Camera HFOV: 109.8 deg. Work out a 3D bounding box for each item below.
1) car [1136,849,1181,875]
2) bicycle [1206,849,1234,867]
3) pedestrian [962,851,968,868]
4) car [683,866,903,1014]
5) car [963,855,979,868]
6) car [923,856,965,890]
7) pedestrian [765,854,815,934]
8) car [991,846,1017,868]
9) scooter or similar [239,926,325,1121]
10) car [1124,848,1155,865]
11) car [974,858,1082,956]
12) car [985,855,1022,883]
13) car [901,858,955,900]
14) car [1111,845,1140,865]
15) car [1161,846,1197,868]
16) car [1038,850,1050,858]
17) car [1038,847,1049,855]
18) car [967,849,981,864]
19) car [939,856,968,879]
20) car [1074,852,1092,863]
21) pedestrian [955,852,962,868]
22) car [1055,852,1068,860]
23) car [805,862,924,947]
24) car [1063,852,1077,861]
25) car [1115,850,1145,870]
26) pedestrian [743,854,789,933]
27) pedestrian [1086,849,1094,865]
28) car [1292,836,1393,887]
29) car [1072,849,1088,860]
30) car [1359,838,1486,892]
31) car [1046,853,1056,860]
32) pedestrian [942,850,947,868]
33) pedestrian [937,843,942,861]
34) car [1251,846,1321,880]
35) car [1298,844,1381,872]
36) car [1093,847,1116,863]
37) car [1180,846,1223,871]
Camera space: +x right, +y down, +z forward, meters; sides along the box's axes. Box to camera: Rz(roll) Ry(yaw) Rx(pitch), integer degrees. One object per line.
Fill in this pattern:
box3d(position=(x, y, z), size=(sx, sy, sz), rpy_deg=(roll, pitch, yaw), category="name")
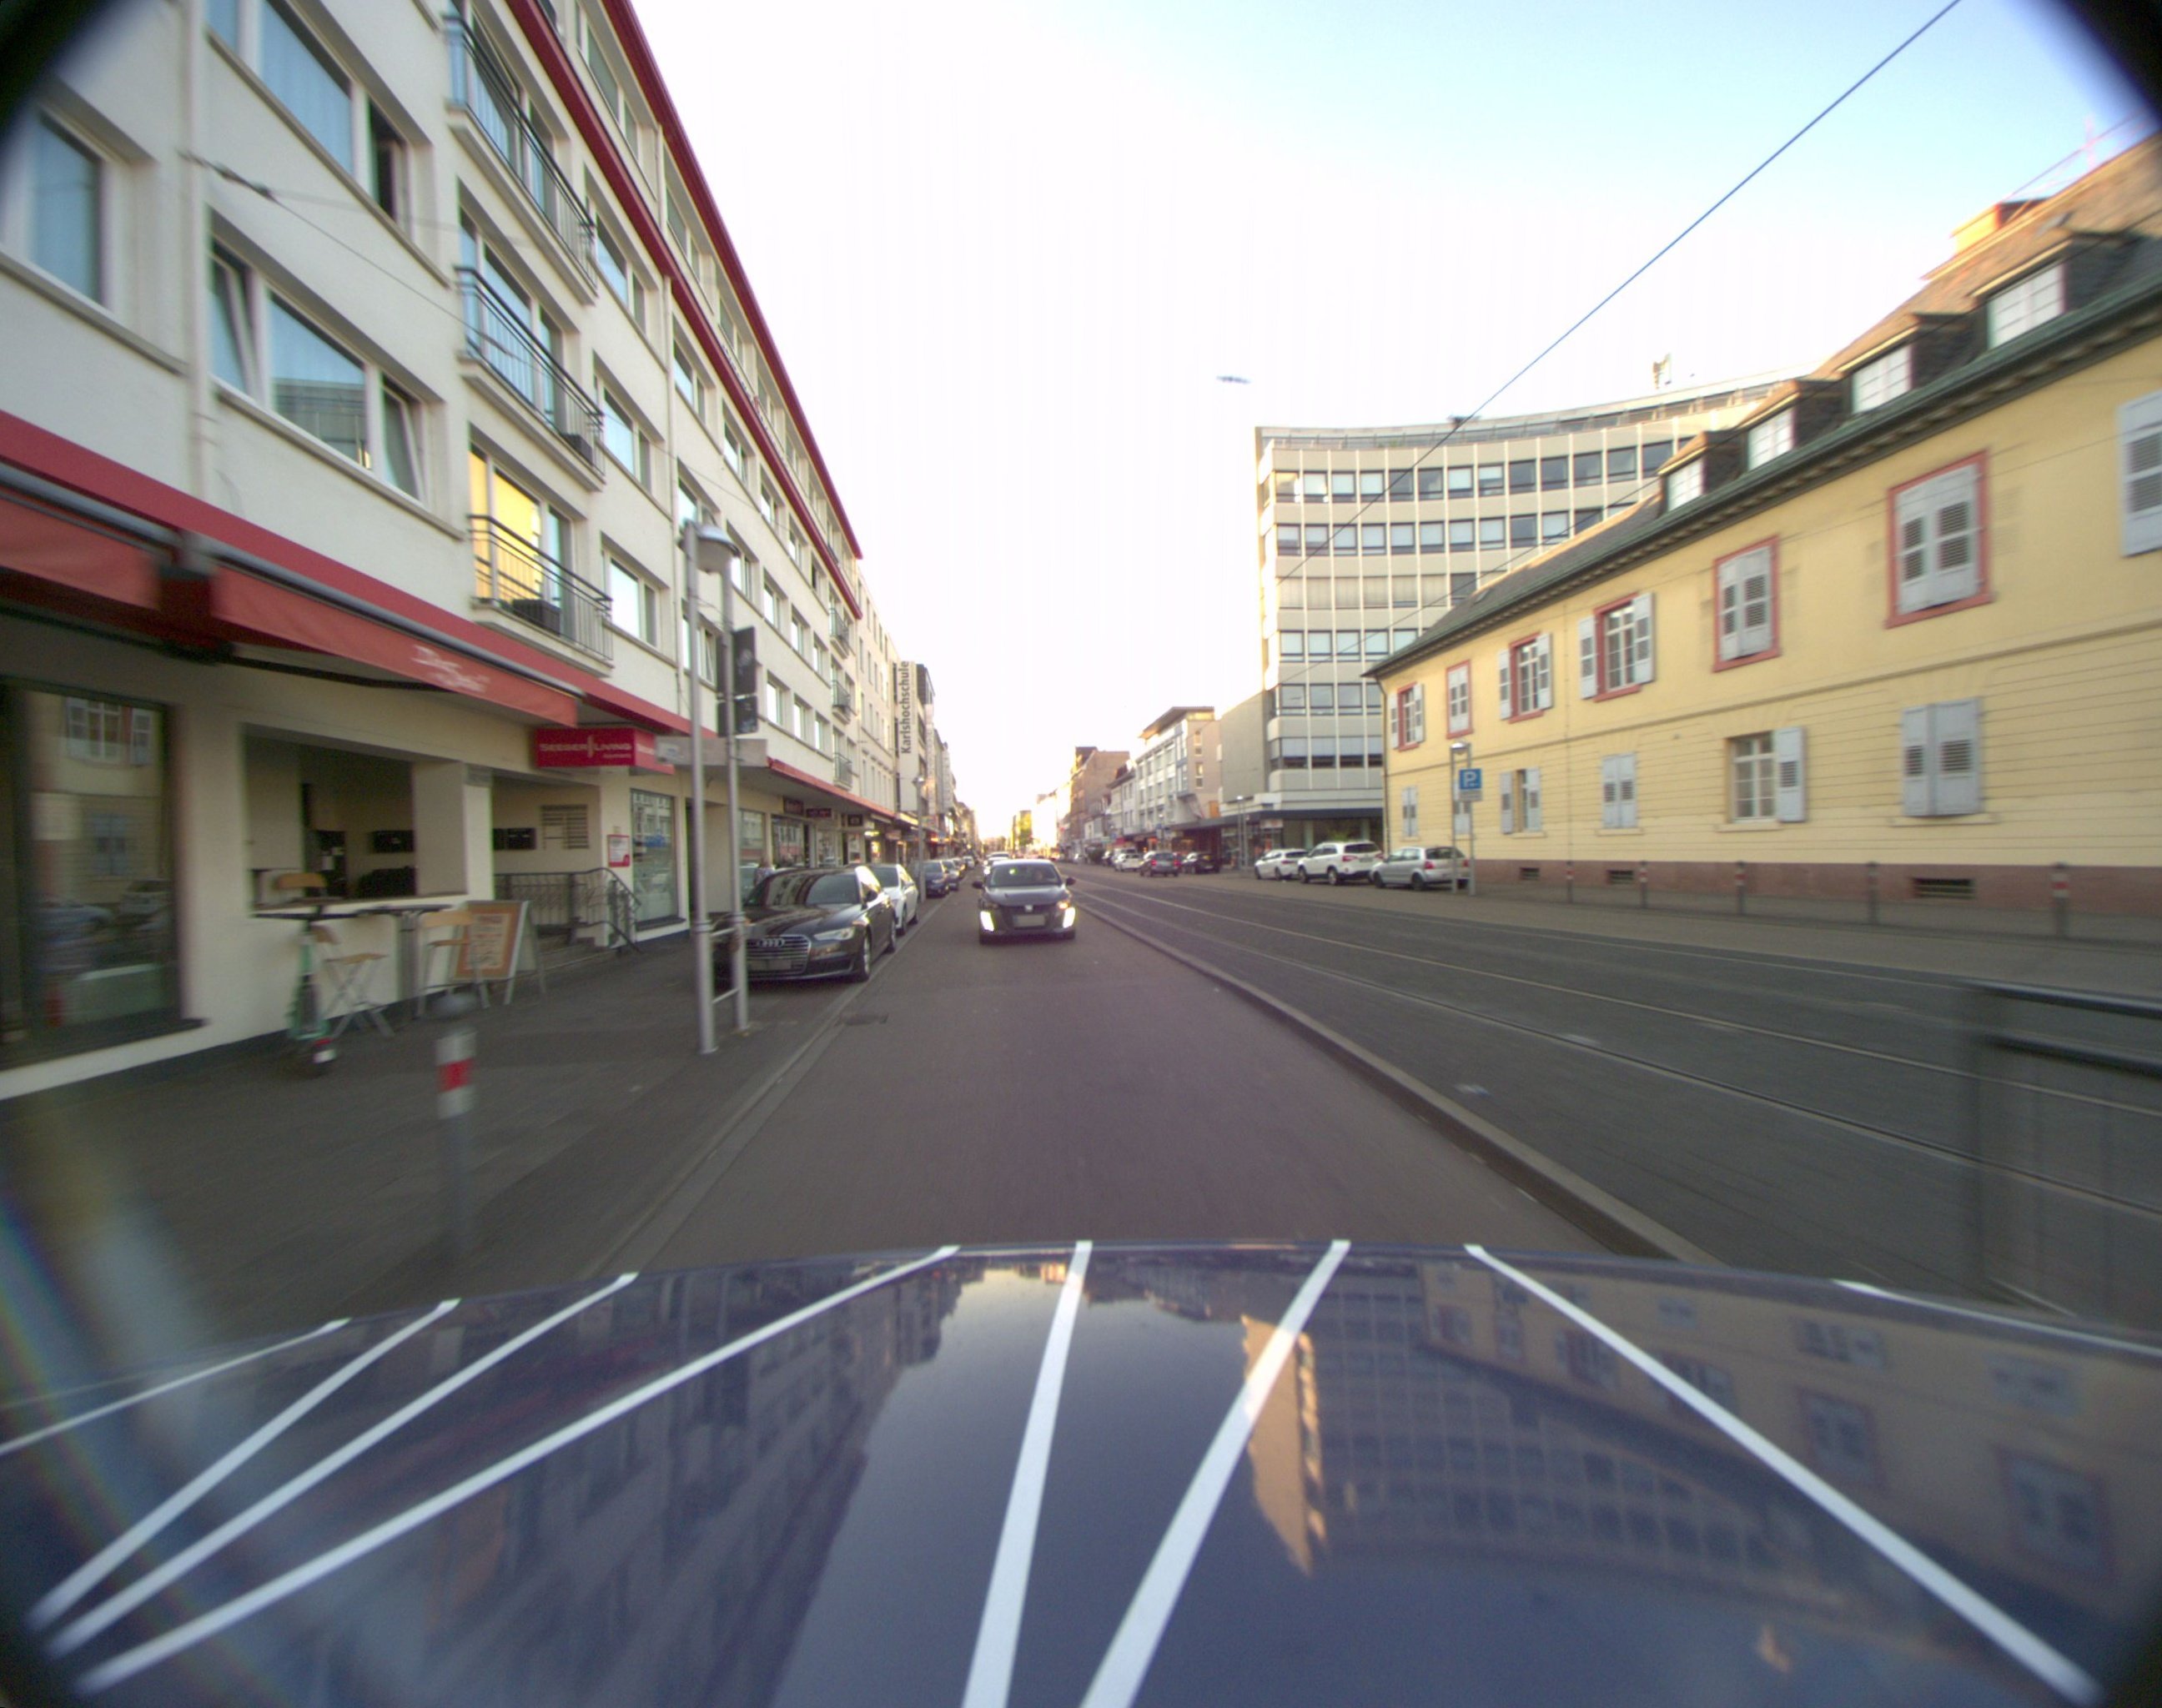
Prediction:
box3d(position=(4.731, 0.463, 47.019), size=(1.741, 1.503, 4.031), rpy_deg=(-2, 0, -9), category="car")
box3d(position=(10.946, 0.308, 59.813), size=(1.974, 1.417, 0.833), rpy_deg=(-1, 1, -8), category="bicycle")
box3d(position=(-12.393, 0.597, 81.104), size=(0.606, 1.717, 0.646), rpy_deg=(-1, 1, -7), category="pedestrian")
box3d(position=(-3.660, 0.966, 10.590), size=(1.740, 1.503, 4.682), rpy_deg=(0, 0, -6), category="car")
box3d(position=(-13.235, 0.846, 91.478), size=(1.683, 1.534, 3.883), rpy_deg=(0, 0, -6), category="car")
box3d(position=(-6.545, 0.864, 36.716), size=(1.795, 1.503, 4.708), rpy_deg=(0, 0, -8), category="car")
box3d(position=(-6.353, 0.855, 16.640), size=(0.829, 1.708, 0.842), rpy_deg=(0, 1, -6), category="pedestrian")
box3d(position=(-6.649, 0.233, 65.240), size=(2.000, 1.805, 3.997), rpy_deg=(-2, 0, -8), category="car")
box3d(position=(-5.837, 1.174, 5.583), size=(0.357, 1.195, 1.245), rpy_deg=(-3, 1, -45), category="scooter or similar")
box3d(position=(5.459, 0.259, 71.734), size=(1.999, 1.457, 4.555), rpy_deg=(-3, 0, -8), category="car")
box3d(position=(-1.162, 0.877, 14.744), size=(1.733, 1.513, 4.330), rpy_deg=(-3, 0, -8), category="car")
box3d(position=(-4.450, 0.796, 43.269), size=(2.000, 1.450, 3.997), rpy_deg=(-2, 0, -7), category="car")
box3d(position=(-6.043, 0.947, 30.443), size=(1.740, 1.503, 4.300), rpy_deg=(0, 0, -6), category="car")
box3d(position=(4.607, 0.095, 79.116), size=(1.961, 1.965, 5.159), rpy_deg=(-1, 0, -8), category="car")
box3d(position=(7.117, 0.207, 55.522), size=(1.691, 1.503, 4.212), rpy_deg=(0, 0, -6), category="car")
box3d(position=(-7.447, -0.048, 151.864), size=(2.000, 1.543, 3.997), rpy_deg=(-2, 0, -7), category="car")
box3d(position=(-7.924, -0.653, 159.144), size=(2.000, 1.543, 3.997), rpy_deg=(-2, 0, -7), category="car")
box3d(position=(-16.821, 0.365, 119.082), size=(2.047, 2.371, 5.580), rpy_deg=(-1, 0, -8), category="car")
box3d(position=(-8.650, 0.889, 51.728), size=(1.726, 1.503, 4.164), rpy_deg=(0, 0, -6), category="car")
box3d(position=(0.285, 0.443, 113.586), size=(1.999, 1.535, 4.875), rpy_deg=(-2, 0, -6), category="car")
box3d(position=(-13.050, 0.621, 81.035), size=(0.610, 1.743, 0.604), rpy_deg=(-1, 1, -7), category="pedestrian")
box3d(position=(-3.771, 0.381, 145.757), size=(2.000, 1.543, 4.203), rpy_deg=(-2, 0, -7), category="car")
box3d(position=(-4.436, 0.954, 16.158), size=(1.791, 1.503, 4.049), rpy_deg=(0, 0, -6), category="car")
box3d(position=(-1.962, 0.432, 134.110), size=(2.000, 1.543, 3.997), rpy_deg=(-2, 0, -7), category="car")
box3d(position=(3.846, 0.472, 60.132), size=(1.811, 1.503, 4.032), rpy_deg=(0, 0, -5), category="car")
box3d(position=(-7.074, 0.861, 17.083), size=(0.731, 1.731, 0.862), rpy_deg=(0, 1, -6), category="pedestrian")
box3d(position=(1.218, 0.403, 102.055), size=(0.823, 2.002, 0.712), rpy_deg=(-1, 1, 9), category="pedestrian")
box3d(position=(10.327, 0.278, 30.385), size=(1.818, 1.775, 4.493), rpy_deg=(-3, 1, -10), category="car")
box3d(position=(-0.194, 0.087, 119.219), size=(1.915, 1.535, 4.549), rpy_deg=(-2, 0, -7), category="car")
box3d(position=(11.256, 0.327, 25.373), size=(1.818, 1.608, 4.211), rpy_deg=(-2, 0, -9), category="car")
box3d(position=(-6.575, 0.491, 166.323), size=(2.000, 1.543, 3.997), rpy_deg=(-2, 0, -7), category="car")
box3d(position=(-14.476, 0.512, 80.850), size=(0.456, 1.888, 0.421), rpy_deg=(-1, 1, -7), category="pedestrian")
box3d(position=(-15.174, -0.179, 81.591), size=(0.453, 1.888, 0.421), rpy_deg=(-1, 1, -7), category="pedestrian")
box3d(position=(9.782, 0.422, 36.630), size=(1.818, 1.503, 4.430), rpy_deg=(-1, 0, -5), category="car")
box3d(position=(14.442, 0.206, 42.557), size=(3.999, 1.458, 1.845), rpy_deg=(-1, 0, -5), category="car")
box3d(position=(2.686, 0.138, 86.688), size=(1.864, 1.711, 4.524), rpy_deg=(-2, 0, -8), category="car")
box3d(position=(7.943, 0.275, 50.342), size=(1.691, 1.503, 4.212), rpy_deg=(-2, 0, -6), category="car")
